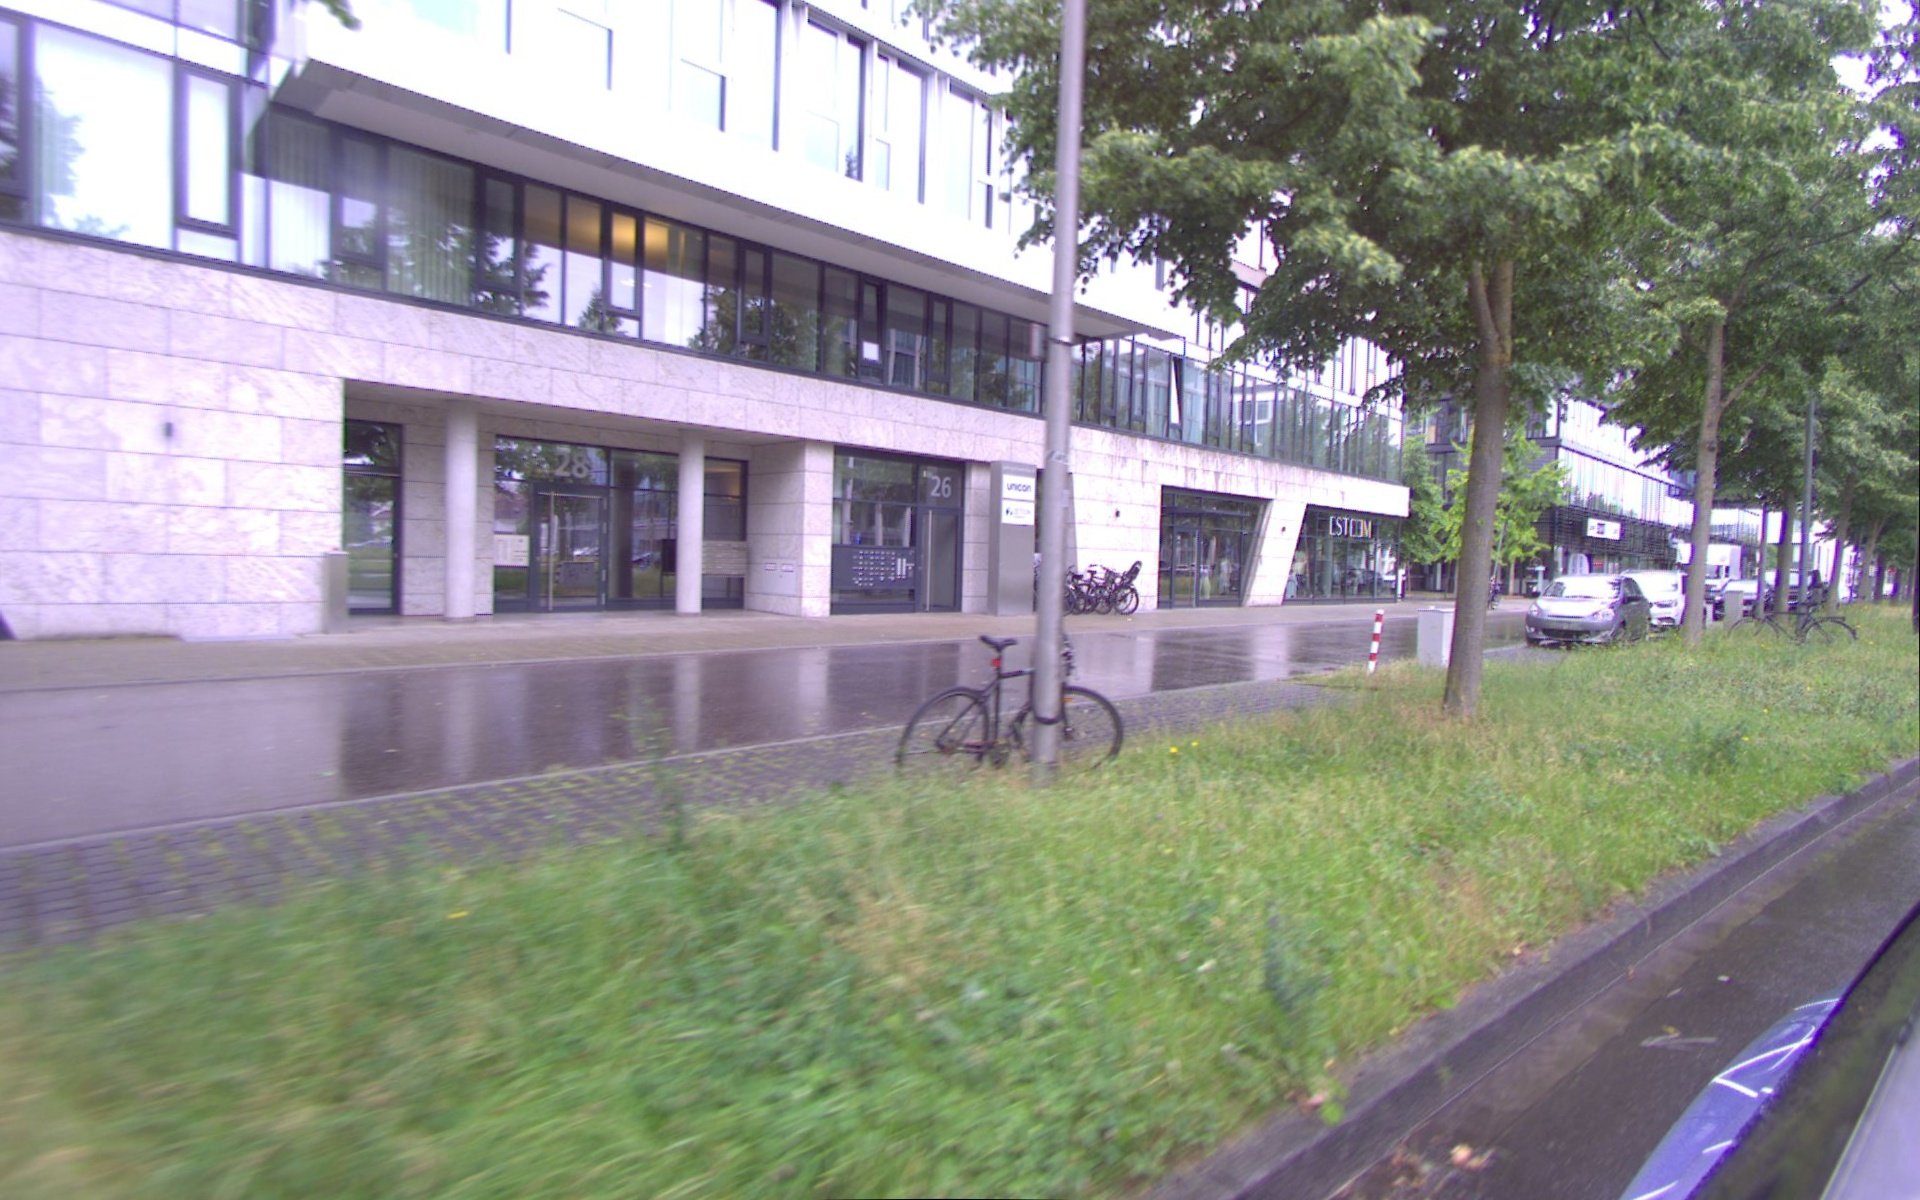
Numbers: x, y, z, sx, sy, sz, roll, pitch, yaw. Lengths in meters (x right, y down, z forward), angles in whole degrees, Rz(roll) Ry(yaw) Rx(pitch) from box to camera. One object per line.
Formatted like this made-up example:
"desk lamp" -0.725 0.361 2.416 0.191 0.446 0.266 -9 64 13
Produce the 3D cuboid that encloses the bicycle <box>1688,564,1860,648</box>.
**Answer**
"bicycle" 12.910 0.059 16.114 0.483 1.211 2.038 -1 3 -43

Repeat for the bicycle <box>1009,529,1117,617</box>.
"bicycle" 2.284 -0.645 22.839 0.694 1.883 2.688 1 3 -38

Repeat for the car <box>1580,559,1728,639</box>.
"car" 16.877 0.006 24.514 4.644 1.690 1.996 3 1 -44

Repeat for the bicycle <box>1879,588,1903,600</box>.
"bicycle" 78.245 -0.506 85.053 0.424 0.928 1.465 3 1 -12

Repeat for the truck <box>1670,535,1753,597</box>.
"truck" 45.848 -2.025 61.617 3.025 3.483 8.415 4 3 43

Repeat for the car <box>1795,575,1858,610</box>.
"car" 43.280 -0.364 50.525 4.646 1.690 1.995 0 1 -45

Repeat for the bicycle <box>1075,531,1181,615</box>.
"bicycle" 3.991 -0.683 24.352 0.694 1.883 2.688 1 3 -38

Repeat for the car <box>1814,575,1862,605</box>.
"car" 47.670 -0.492 54.913 1.769 1.471 4.649 -1 -2 43

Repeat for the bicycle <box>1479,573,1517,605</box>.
"bicycle" 19.503 -0.399 36.657 2.029 1.144 0.519 0 3 -42

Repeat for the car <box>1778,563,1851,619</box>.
"car" 33.912 -0.305 40.267 1.991 1.976 4.957 4 1 39

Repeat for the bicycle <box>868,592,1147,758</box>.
"bicycle" 0.341 0.415 5.905 1.868 0.833 0.343 3 1 -41

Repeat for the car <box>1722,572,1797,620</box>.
"car" 28.752 -0.193 36.364 1.954 1.531 4.418 4 3 40

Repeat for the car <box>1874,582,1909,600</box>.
"car" 83.284 -0.771 90.454 4.877 1.472 1.996 0 3 -44

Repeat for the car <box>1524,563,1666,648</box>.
"car" 12.916 0.100 20.497 1.627 1.509 3.596 4 2 45

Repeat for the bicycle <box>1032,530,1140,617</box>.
"bicycle" 2.852 -0.652 23.304 0.694 1.883 2.688 1 3 -38

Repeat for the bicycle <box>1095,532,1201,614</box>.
"bicycle" 4.573 -0.696 24.830 0.694 1.883 2.688 1 3 -38

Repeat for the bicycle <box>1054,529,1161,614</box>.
"bicycle" 3.427 -0.706 23.830 0.694 1.883 2.688 1 3 -38

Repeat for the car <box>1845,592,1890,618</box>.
"car" 57.873 0.291 64.504 1.994 1.462 5.156 4 3 43
